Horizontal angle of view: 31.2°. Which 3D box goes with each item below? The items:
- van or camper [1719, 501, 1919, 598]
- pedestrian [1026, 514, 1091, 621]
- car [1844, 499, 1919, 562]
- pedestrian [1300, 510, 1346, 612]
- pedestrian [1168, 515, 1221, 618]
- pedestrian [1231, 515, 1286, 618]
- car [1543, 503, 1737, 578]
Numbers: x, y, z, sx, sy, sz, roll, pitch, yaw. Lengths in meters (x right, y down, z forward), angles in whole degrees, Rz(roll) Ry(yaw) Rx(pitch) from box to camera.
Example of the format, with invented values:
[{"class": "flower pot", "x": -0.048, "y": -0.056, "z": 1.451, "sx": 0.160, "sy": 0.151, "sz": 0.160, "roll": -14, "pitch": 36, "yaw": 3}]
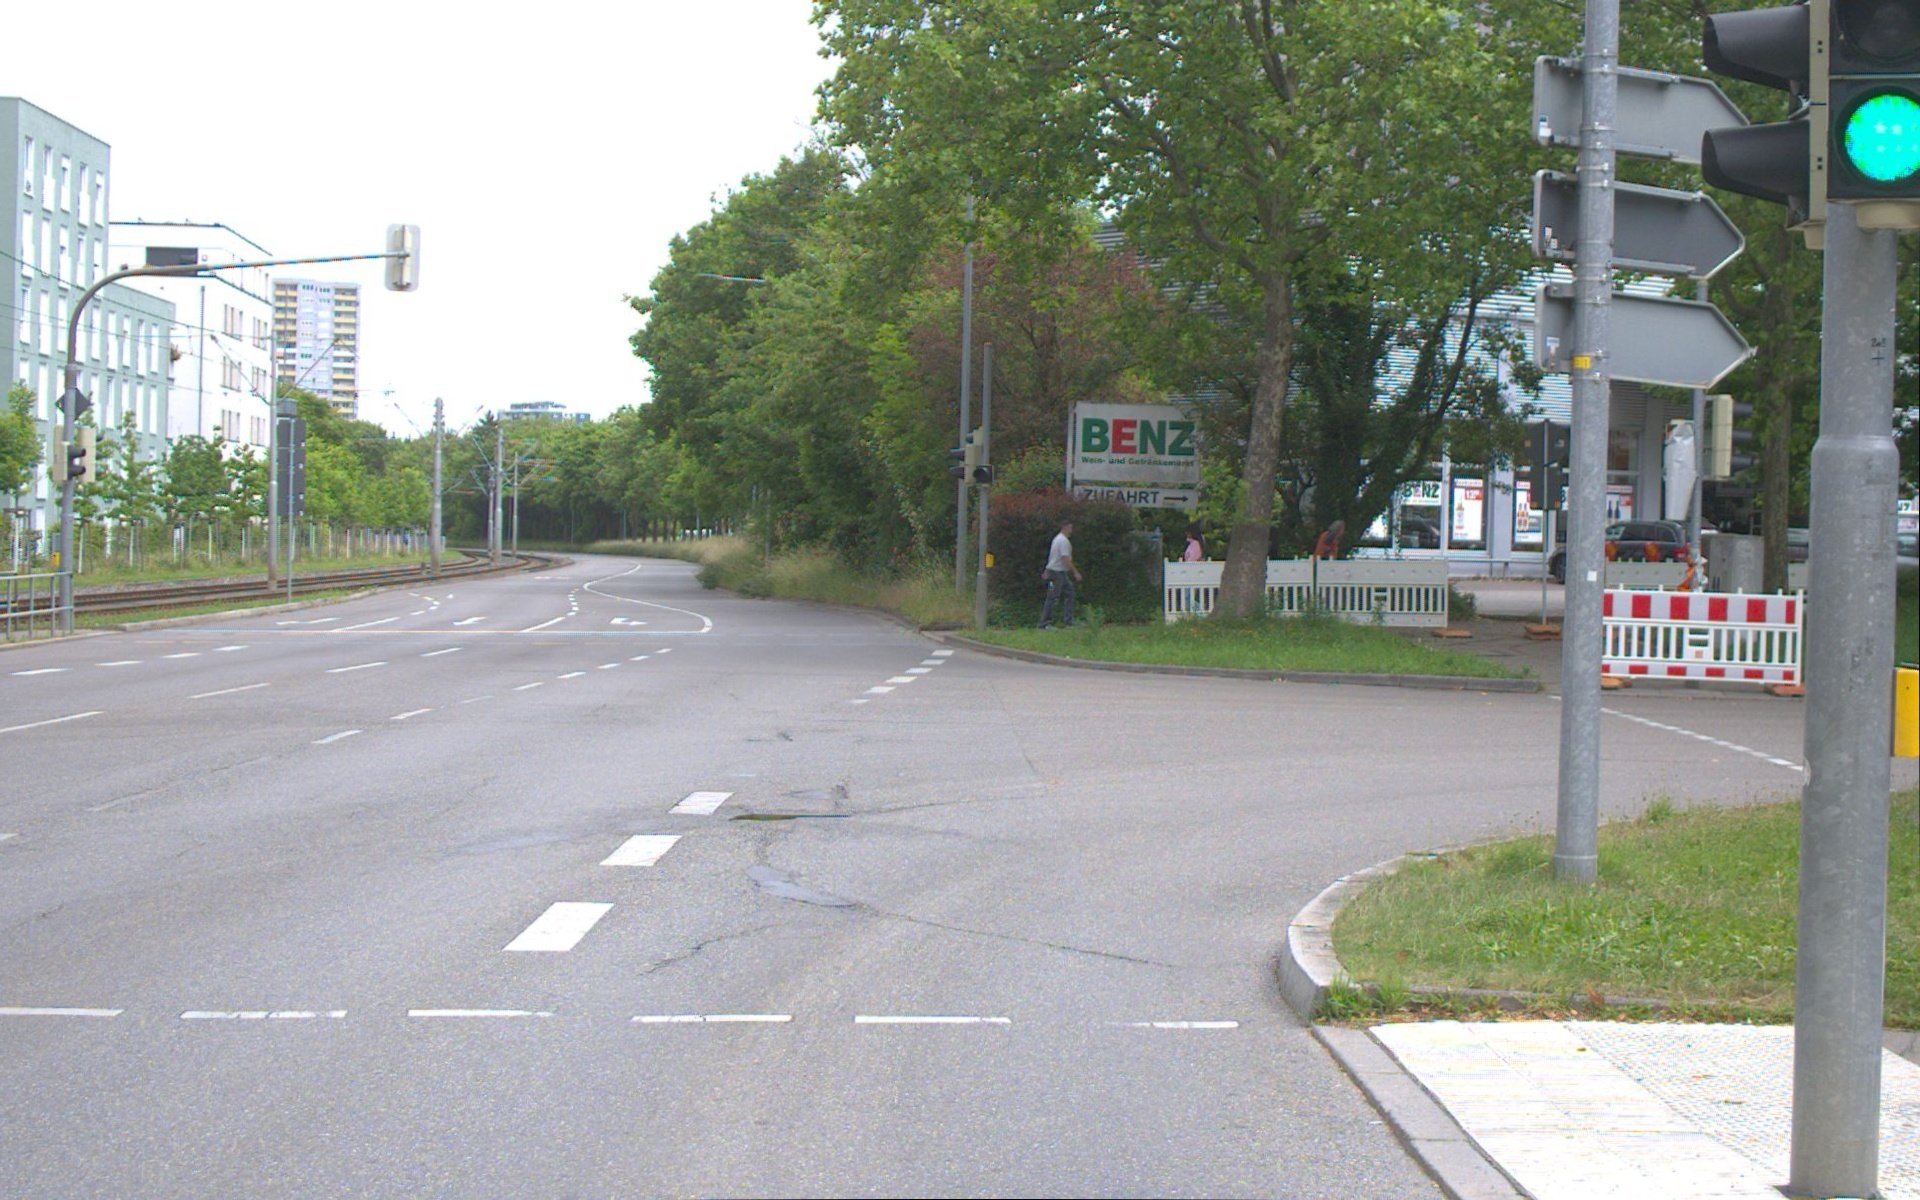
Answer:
[{"class": "van or camper", "x": 15.686, "y": -0.927, "z": 61.806, "sx": 1.840, "sy": 1.678, "sz": 4.001, "roll": 0, "pitch": 2, "yaw": -28}, {"class": "pedestrian", "x": 1.475, "y": -0.488, "z": 51.508, "sx": 0.848, "sy": 1.581, "sz": 0.796, "roll": 1, "pitch": 0, "yaw": -5}, {"class": "car", "x": 21.857, "y": -1.564, "z": 78.024, "sx": 1.480, "sy": 1.399, "sz": 3.409, "roll": 1, "pitch": 1, "yaw": -31}, {"class": "pedestrian", "x": 5.490, "y": -0.591, "z": 52.023, "sx": 0.653, "sy": 1.533, "sz": 0.772, "roll": 1, "pitch": 0, "yaw": 7}, {"class": "pedestrian", "x": 3.407, "y": -0.490, "z": 50.041, "sx": 0.697, "sy": 1.484, "sz": 0.688, "roll": 1, "pitch": 0, "yaw": 0}, {"class": "pedestrian", "x": 4.336, "y": -0.484, "z": 49.945, "sx": 0.697, "sy": 1.484, "sz": 0.720, "roll": 1, "pitch": 0, "yaw": 12}, {"class": "car", "x": 14.272, "y": -1.252, "z": 72.322, "sx": 1.728, "sy": 1.495, "sz": 4.269, "roll": 1, "pitch": 1, "yaw": -27}]
